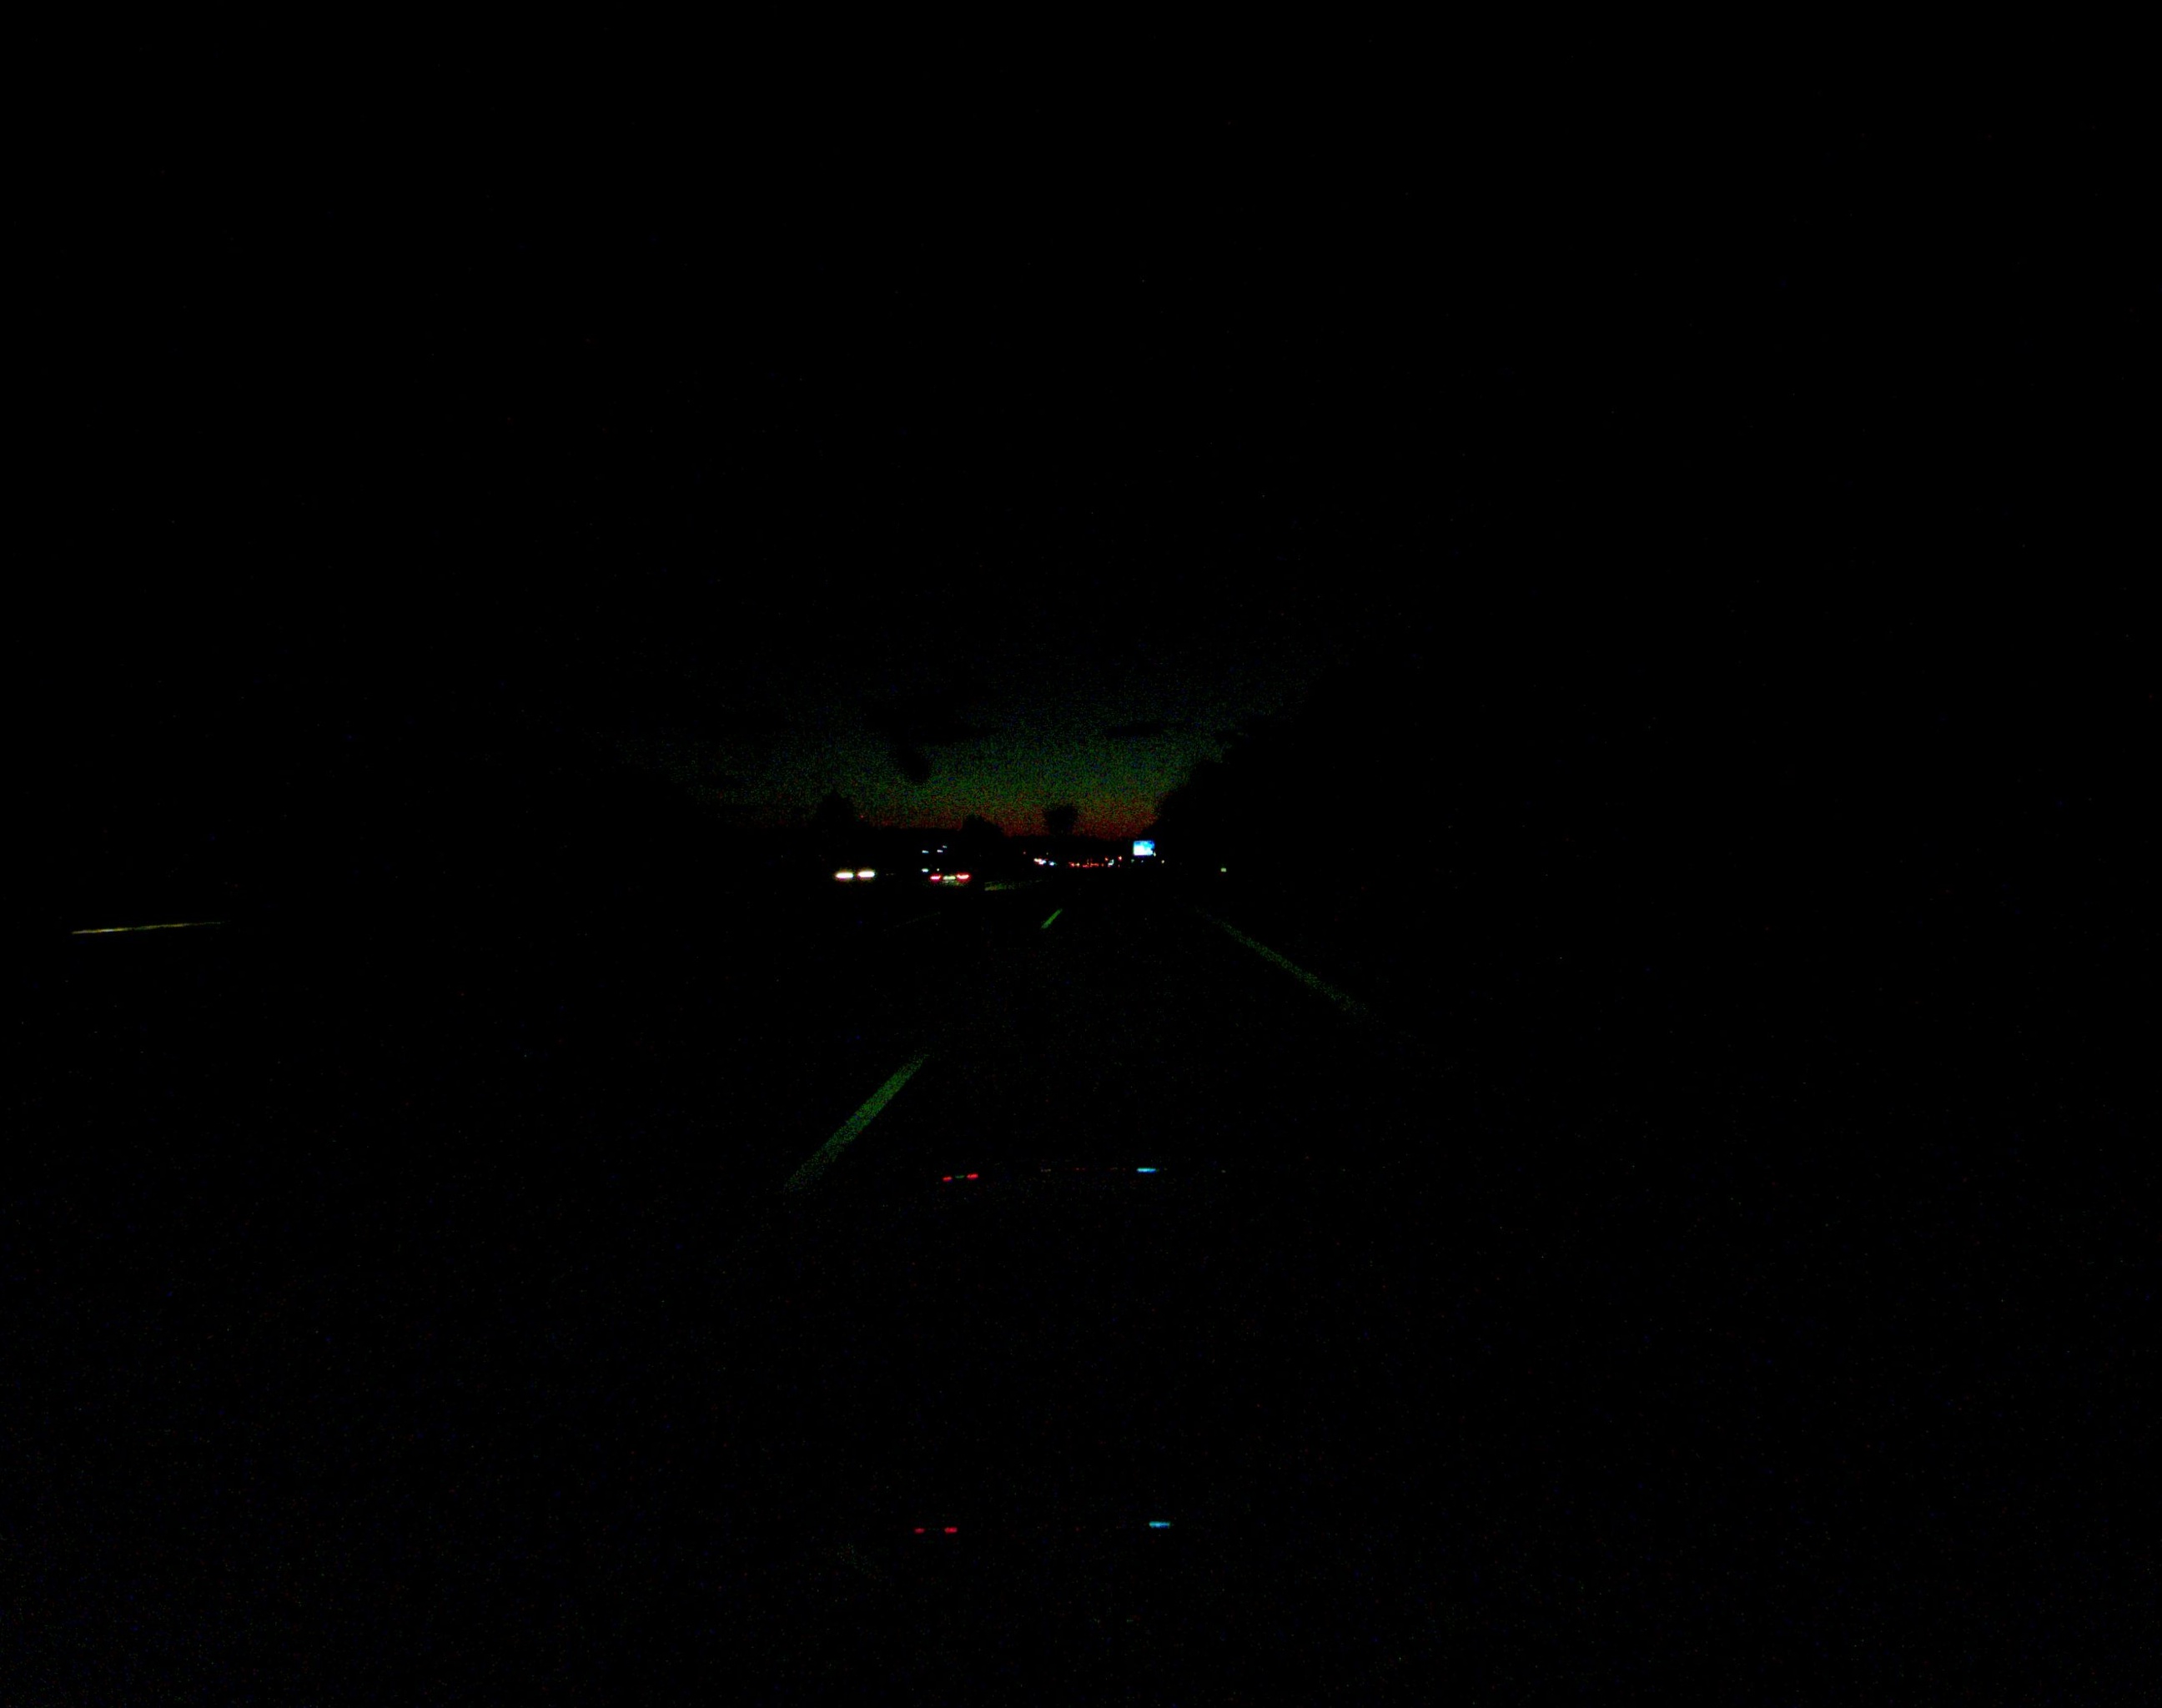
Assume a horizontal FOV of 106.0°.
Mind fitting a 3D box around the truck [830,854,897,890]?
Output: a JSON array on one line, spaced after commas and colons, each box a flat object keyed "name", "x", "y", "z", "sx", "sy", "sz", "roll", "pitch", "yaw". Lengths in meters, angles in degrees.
[{"name": "truck", "x": -17.026, "y": 1.346, "z": 64.359, "sx": 2.862, "sy": 2.641, "sz": 7.889, "roll": -2, "pitch": 0, "yaw": 2}]

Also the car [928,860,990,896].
[{"name": "car", "x": -5.389, "y": 1.021, "z": 36.565, "sx": 1.773, "sy": 1.487, "sz": 5.256, "roll": -1, "pitch": 0, "yaw": 2}]

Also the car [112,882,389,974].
[{"name": "car", "x": -21.163, "y": 1.797, "z": 21.139, "sx": 2.188, "sy": 1.955, "sz": 4.765, "roll": 0, "pitch": 0, "yaw": 2}]

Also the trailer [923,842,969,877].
[{"name": "trailer", "x": -18.603, "y": 0.702, "z": 113.256, "sx": 3.312, "sy": 4.433, "sz": 14.030, "roll": -3, "pitch": 0, "yaw": 2}]

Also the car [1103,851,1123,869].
[{"name": "car", "x": 3.815, "y": 0.701, "z": 98.429, "sx": 2.188, "sy": 1.955, "sz": 4.765, "roll": -4, "pitch": 0, "yaw": 2}]

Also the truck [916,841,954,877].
[{"name": "truck", "x": -18.874, "y": 0.673, "z": 105.811, "sx": 3.313, "sy": 4.433, "sz": 6.710, "roll": -3, "pitch": 0, "yaw": 2}]

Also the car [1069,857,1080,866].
[{"name": "car", "x": -1.366, "y": 1.767, "z": 181.724, "sx": 2.188, "sy": 1.955, "sz": 4.636, "roll": -1, "pitch": 0, "yaw": 2}]
